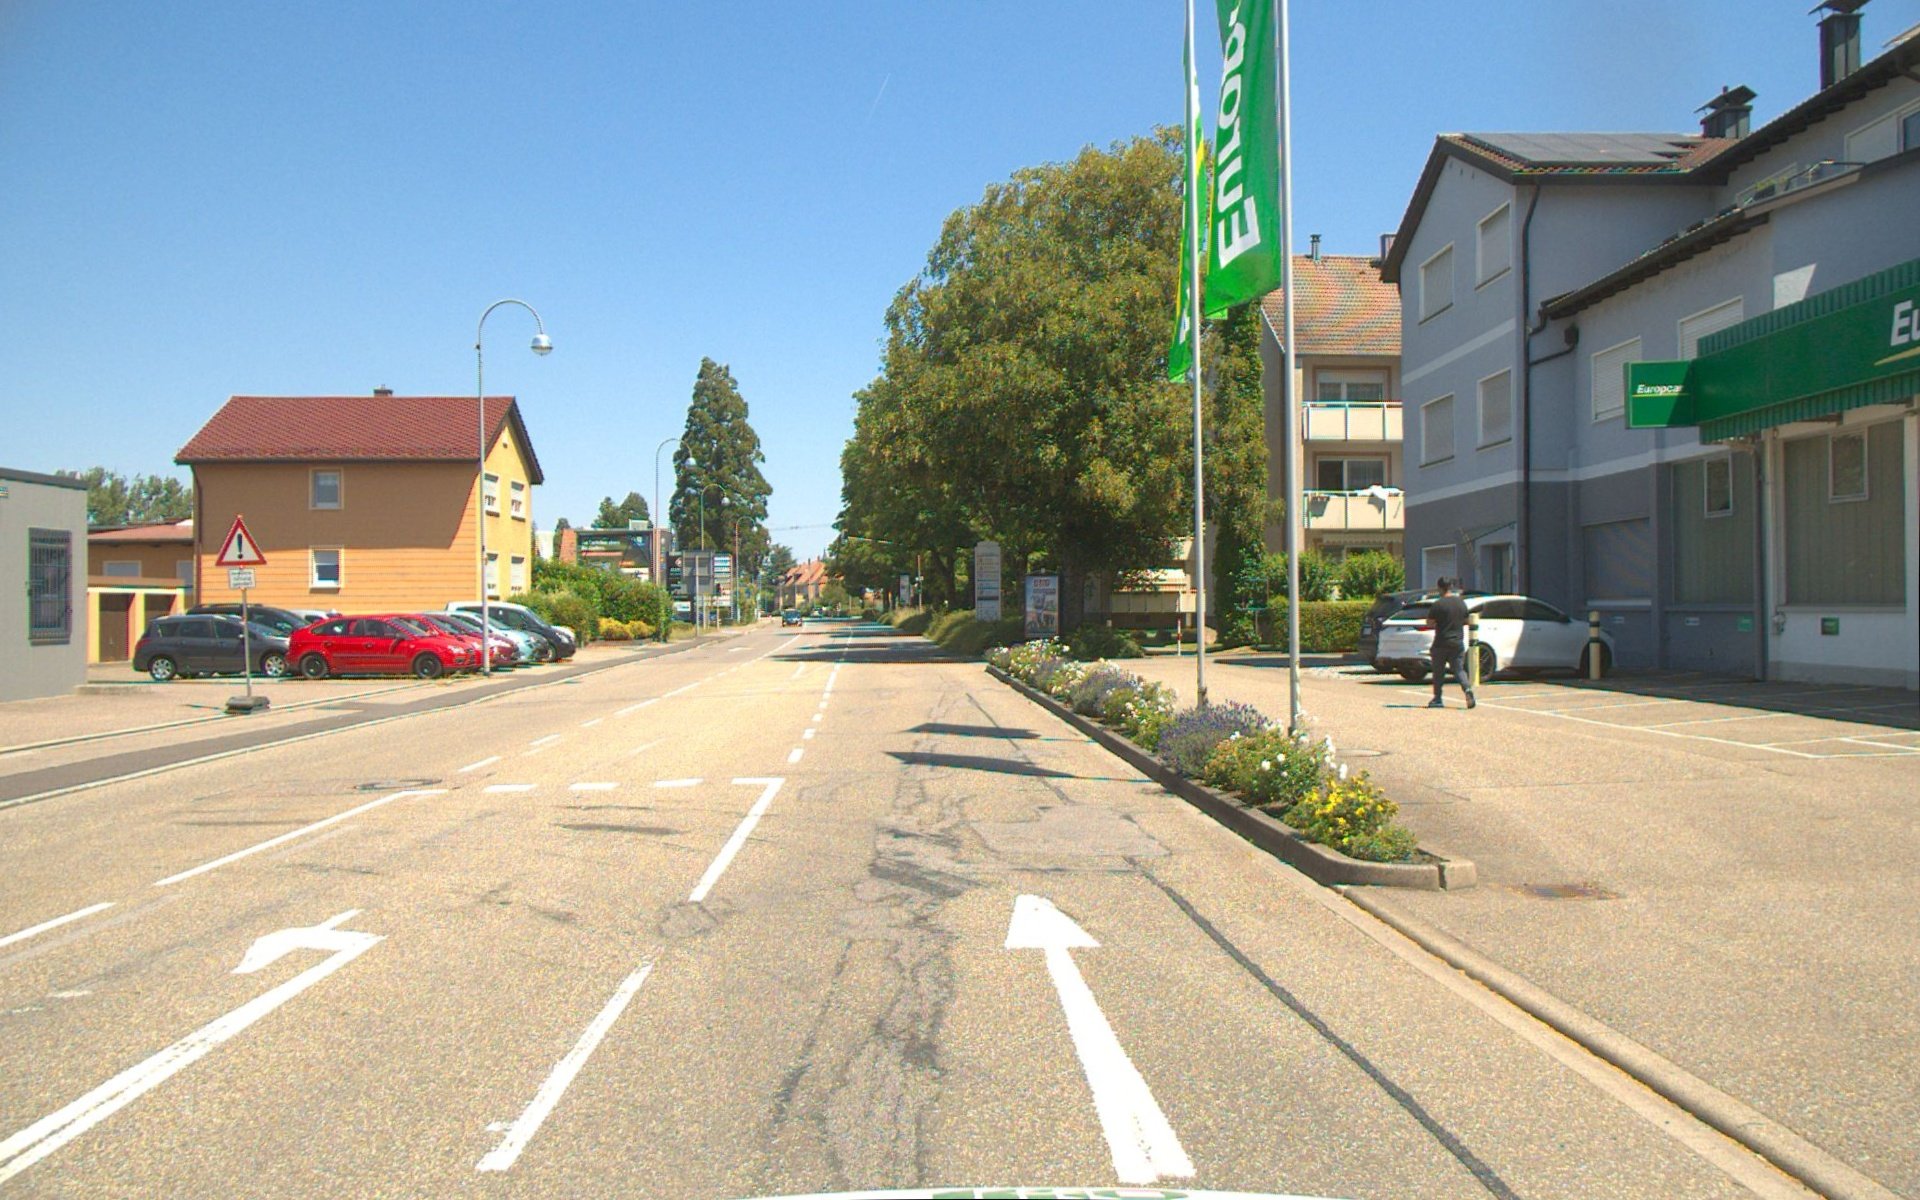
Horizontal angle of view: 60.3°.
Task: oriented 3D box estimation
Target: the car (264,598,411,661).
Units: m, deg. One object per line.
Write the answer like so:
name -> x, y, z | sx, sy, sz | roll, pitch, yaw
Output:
car -> -18.057, 0.858, 48.143 | 3.592, 1.807, 1.920 | 0, -1, -6

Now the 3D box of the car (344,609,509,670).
car -> -13.375, 0.990, 41.657 | 3.592, 1.483, 1.890 | 0, -1, -6

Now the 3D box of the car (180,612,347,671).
car -> -18.131, 1.085, 43.218 | 3.592, 1.483, 1.890 | 0, -1, -6

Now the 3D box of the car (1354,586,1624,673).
car -> 9.102, 0.502, 28.432 | 4.290, 1.395, 1.939 | 0, -1, -26

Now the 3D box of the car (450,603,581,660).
car -> -13.557, 0.955, 50.599 | 3.592, 1.702, 1.920 | 0, -1, -6

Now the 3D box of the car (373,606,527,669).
car -> -13.544, 0.998, 44.134 | 3.592, 1.633, 1.879 | 0, -1, -6

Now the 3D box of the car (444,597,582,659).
car -> -14.207, 0.895, 52.772 | 4.017, 1.931, 1.996 | 0, -1, -8

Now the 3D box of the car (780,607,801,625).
car -> -14.963, 1.416, 146.244 | 1.676, 1.521, 4.274 | 0, 0, -4

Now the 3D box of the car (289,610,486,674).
car -> -13.523, 0.983, 39.231 | 4.044, 1.469, 1.825 | 0, -1, -4

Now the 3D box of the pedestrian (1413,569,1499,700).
pedestrian -> 6.504, 0.457, 21.737 | 0.823, 1.670, 1.010 | -1, -1, 1

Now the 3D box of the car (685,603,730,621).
car -> -20.653, 1.025, 135.334 | 3.419, 1.452, 1.600 | 0, -1, 0

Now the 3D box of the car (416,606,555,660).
car -> -13.837, 0.961, 48.422 | 3.592, 1.558, 1.920 | 0, -1, -6

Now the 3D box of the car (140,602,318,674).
car -> -18.036, 0.935, 40.940 | 3.593, 1.739, 1.890 | 0, -1, -6

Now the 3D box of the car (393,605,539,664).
car -> -13.774, 0.955, 46.313 | 3.592, 1.609, 1.920 | 0, -1, -6

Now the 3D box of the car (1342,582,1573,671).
car -> 9.666, 0.514, 32.309 | 3.908, 1.577, 1.796 | -2, -1, -4
